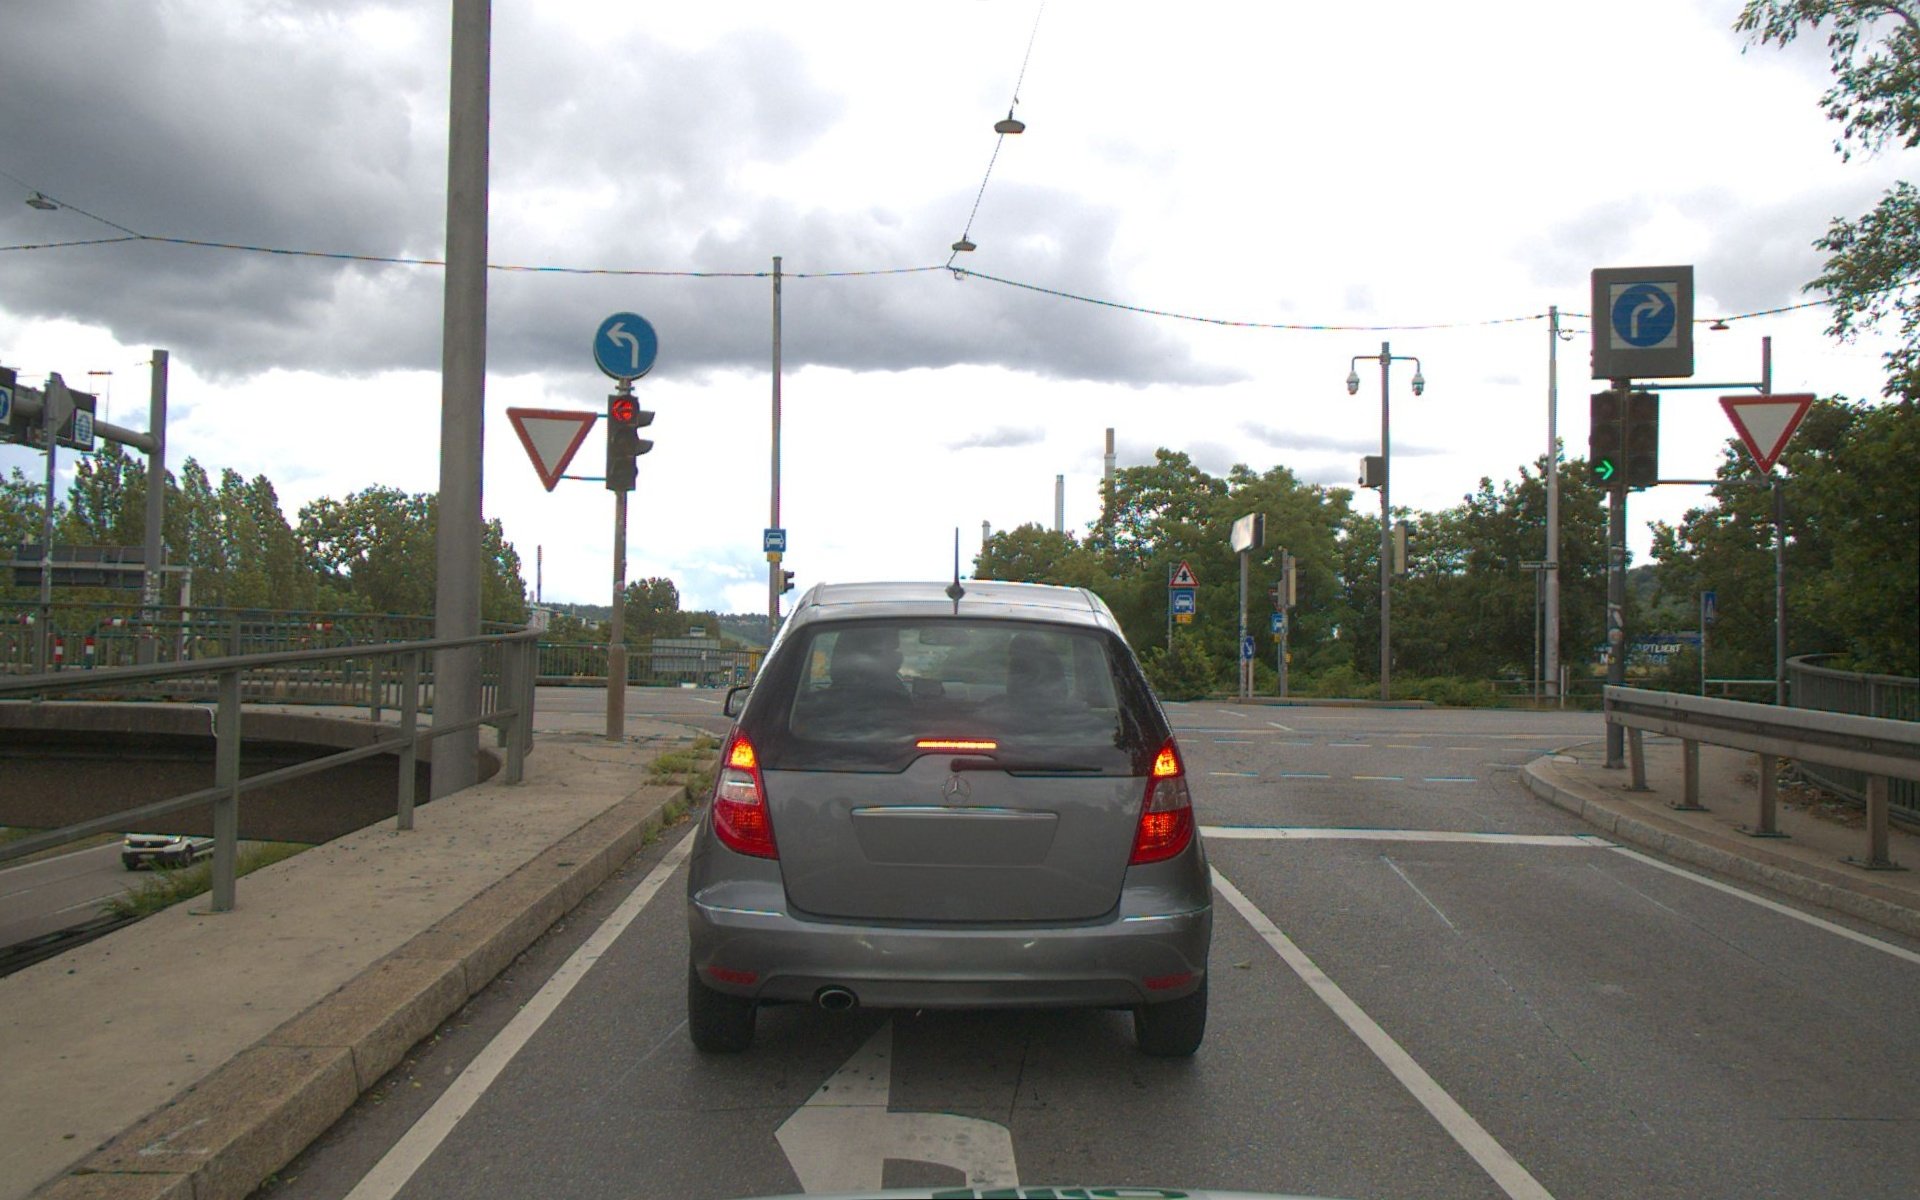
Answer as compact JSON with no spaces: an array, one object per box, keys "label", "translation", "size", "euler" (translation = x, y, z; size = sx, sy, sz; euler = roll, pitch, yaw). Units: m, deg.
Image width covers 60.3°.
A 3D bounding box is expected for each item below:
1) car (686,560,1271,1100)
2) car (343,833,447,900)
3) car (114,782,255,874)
[{"label":"car","translation":[0.038,0.688,6.652],"size":[1.704,1.570,3.540],"euler":[1,0,-1]},{"label":"car","translation":[-16.926,7.976,49.742],"size":[1.585,1.447,4.414],"euler":[-1,-2,0]},{"label":"car","translation":[-27.185,7.943,58.277],"size":[2.122,2.640,6.100],"euler":[-1,-3,-1]}]
